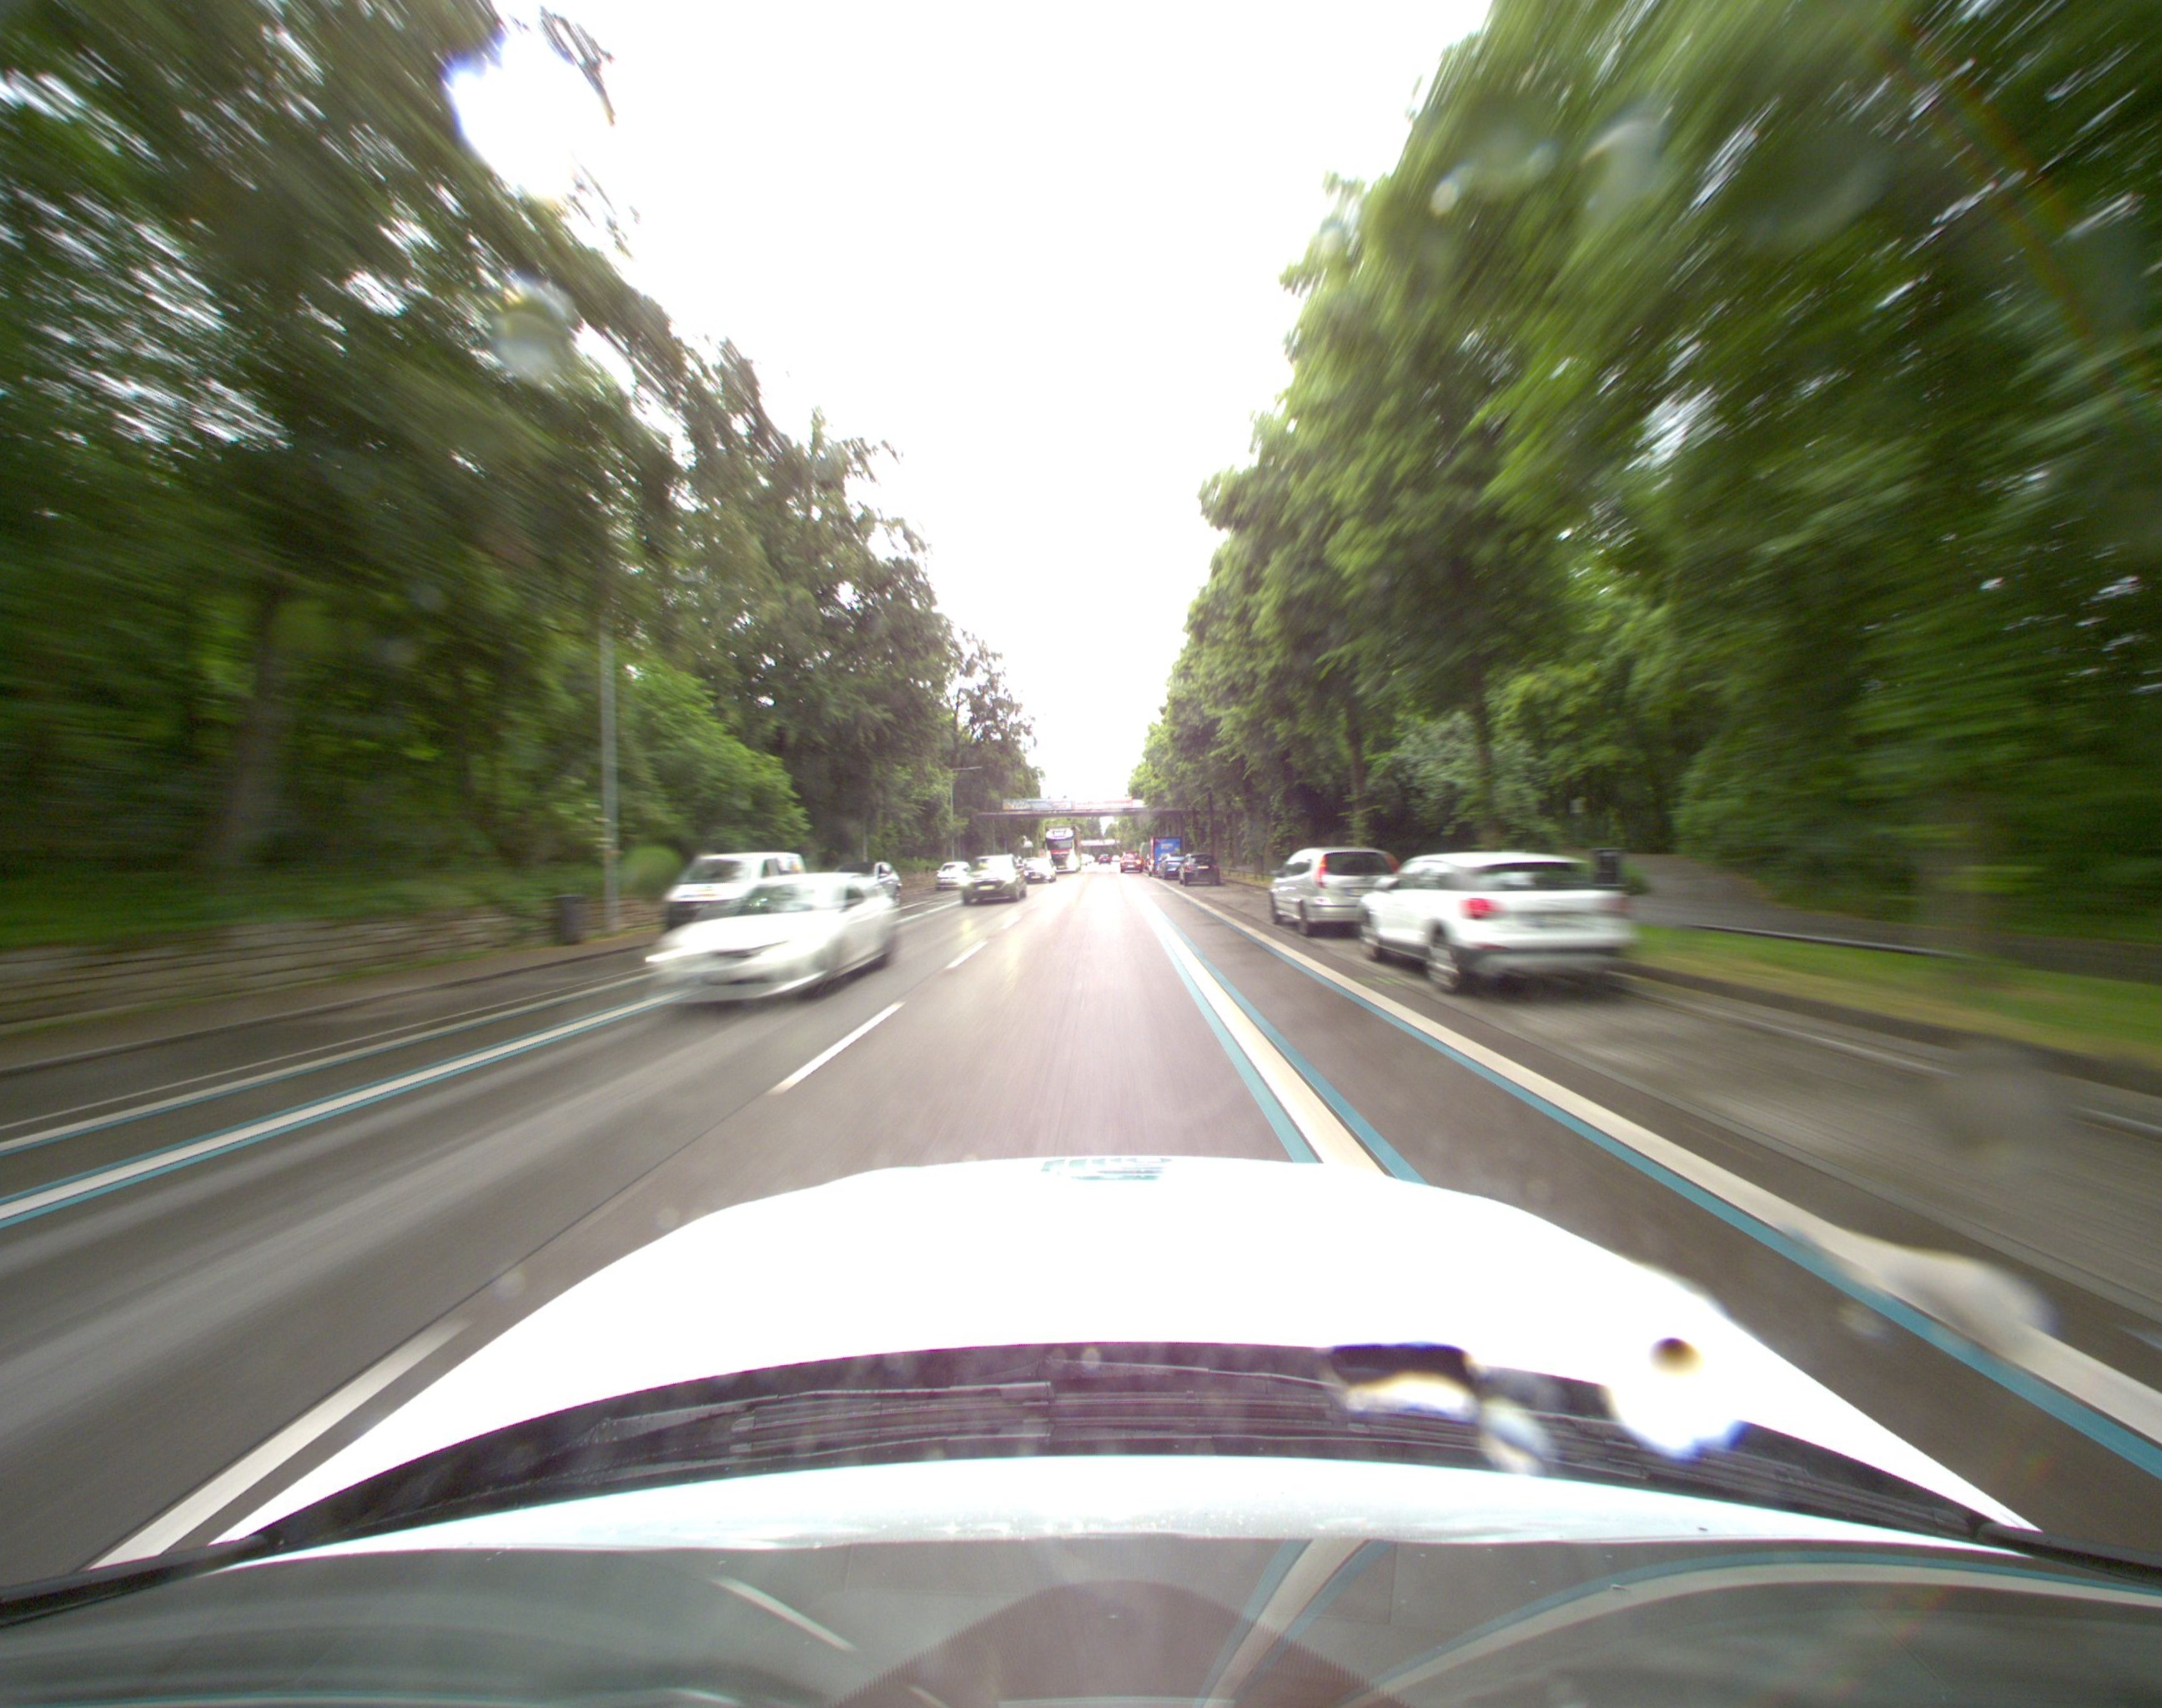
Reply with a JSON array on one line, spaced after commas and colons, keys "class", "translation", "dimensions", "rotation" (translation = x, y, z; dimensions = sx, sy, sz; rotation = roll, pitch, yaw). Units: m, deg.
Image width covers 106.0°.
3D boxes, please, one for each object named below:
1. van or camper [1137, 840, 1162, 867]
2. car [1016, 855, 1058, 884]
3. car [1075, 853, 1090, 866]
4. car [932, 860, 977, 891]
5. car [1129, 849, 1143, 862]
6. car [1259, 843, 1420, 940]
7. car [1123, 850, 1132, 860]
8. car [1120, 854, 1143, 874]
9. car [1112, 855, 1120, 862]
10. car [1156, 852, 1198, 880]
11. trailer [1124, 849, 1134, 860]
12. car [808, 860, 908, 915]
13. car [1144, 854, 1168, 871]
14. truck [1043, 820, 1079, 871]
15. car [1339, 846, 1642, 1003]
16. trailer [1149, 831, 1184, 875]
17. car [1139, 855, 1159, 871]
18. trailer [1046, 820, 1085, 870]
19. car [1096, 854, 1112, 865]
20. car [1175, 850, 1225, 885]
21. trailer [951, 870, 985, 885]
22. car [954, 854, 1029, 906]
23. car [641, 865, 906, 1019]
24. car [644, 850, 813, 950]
[{"class": "van or camper", "translation": [7.088, -0.062, 84.916], "dimensions": [2.035, 2.729, 6.901], "rotation": [-1, 0, 1]}, {"class": "car", "translation": [-2.505, 0.865, 47.903], "dimensions": [1.907, 1.456, 4.623], "rotation": [-4, 0, 3]}, {"class": "car", "translation": [0.201, 0.770, 114.859], "dimensions": [1.827, 1.666, 4.181], "rotation": [-4, 0, 1]}, {"class": "car", "translation": [-6.925, 1.166, 44.883], "dimensions": [1.783, 1.482, 3.982], "rotation": [-3, 0, 0]}, {"class": "car", "translation": [8.417, 0.226, 124.605], "dimensions": [1.919, 2.022, 4.666], "rotation": [-1, 0, 2]}, {"class": "car", "translation": [4.838, 0.629, 16.002], "dimensions": [1.747, 1.597, 4.741], "rotation": [-1, 0, 1]}, {"class": "car", "translation": [10.591, 0.282, 184.591], "dimensions": [1.881, 2.127, 4.048], "rotation": [-3, 0, 3]}, {"class": "car", "translation": [4.103, 0.768, 66.307], "dimensions": [1.811, 1.508, 4.142], "rotation": [-2, 0, 3]}, {"class": "car", "translation": [7.890, 0.959, 185.219], "dimensions": [1.725, 1.583, 4.037], "rotation": [-3, 0, 1]}, {"class": "car", "translation": [5.621, 0.670, 48.143], "dimensions": [1.894, 1.547, 4.754], "rotation": [0, 0, -1]}, {"class": "trailer", "translation": [9.882, 0.190, 167.775], "dimensions": [1.876, 2.166, 3.810], "rotation": [-3, 0, 2]}, {"class": "car", "translation": [-7.584, 1.080, 28.220], "dimensions": [2.003, 1.605, 4.780], "rotation": [-2, 0, 1]}, {"class": "car", "translation": [6.609, 0.716, 71.947], "dimensions": [1.680, 1.416, 4.197], "rotation": [-2, 0, 0]}, {"class": "truck", "translation": [-1.668, -0.685, 70.280], "dimensions": [2.507, 4.046, 4.920], "rotation": [-4, 0, 3]}, {"class": "car", "translation": [4.709, 0.686, 10.199], "dimensions": [1.691, 1.513, 4.472], "rotation": [-1, 0, 2]}, {"class": "trailer", "translation": [5.642, -0.066, 54.100], "dimensions": [1.945, 2.758, 4.008], "rotation": [-2, 0, 2]}, {"class": "car", "translation": [6.488, 0.848, 77.954], "dimensions": [1.679, 1.416, 4.102], "rotation": [-1, 0, 2]}, {"class": "trailer", "translation": [-1.325, -0.807, 77.828], "dimensions": [2.677, 4.258, 12.775], "rotation": [-4, 0, 2]}, {"class": "car", "translation": [3.372, 0.797, 120.580], "dimensions": [2.133, 1.492, 4.497], "rotation": [-2, 0, 0]}, {"class": "car", "translation": [5.660, 0.620, 39.188], "dimensions": [1.819, 1.503, 4.572], "rotation": [-2, 0, 1]}, {"class": "trailer", "translation": [-6.863, 1.414, 49.605], "dimensions": [1.537, 0.819, 3.305], "rotation": [-2, 0, 0]}, {"class": "car", "translation": [-3.054, 0.846, 28.711], "dimensions": [1.954, 1.617, 4.467], "rotation": [-3, 0, 2]}, {"class": "car", "translation": [-3.705, 0.961, 10.687], "dimensions": [1.769, 1.466, 4.064], "rotation": [-4, 0, 1]}, {"class": "car", "translation": [-8.079, 0.923, 19.285], "dimensions": [1.969, 2.005, 5.014], "rotation": [-1, 0, -3]}]
